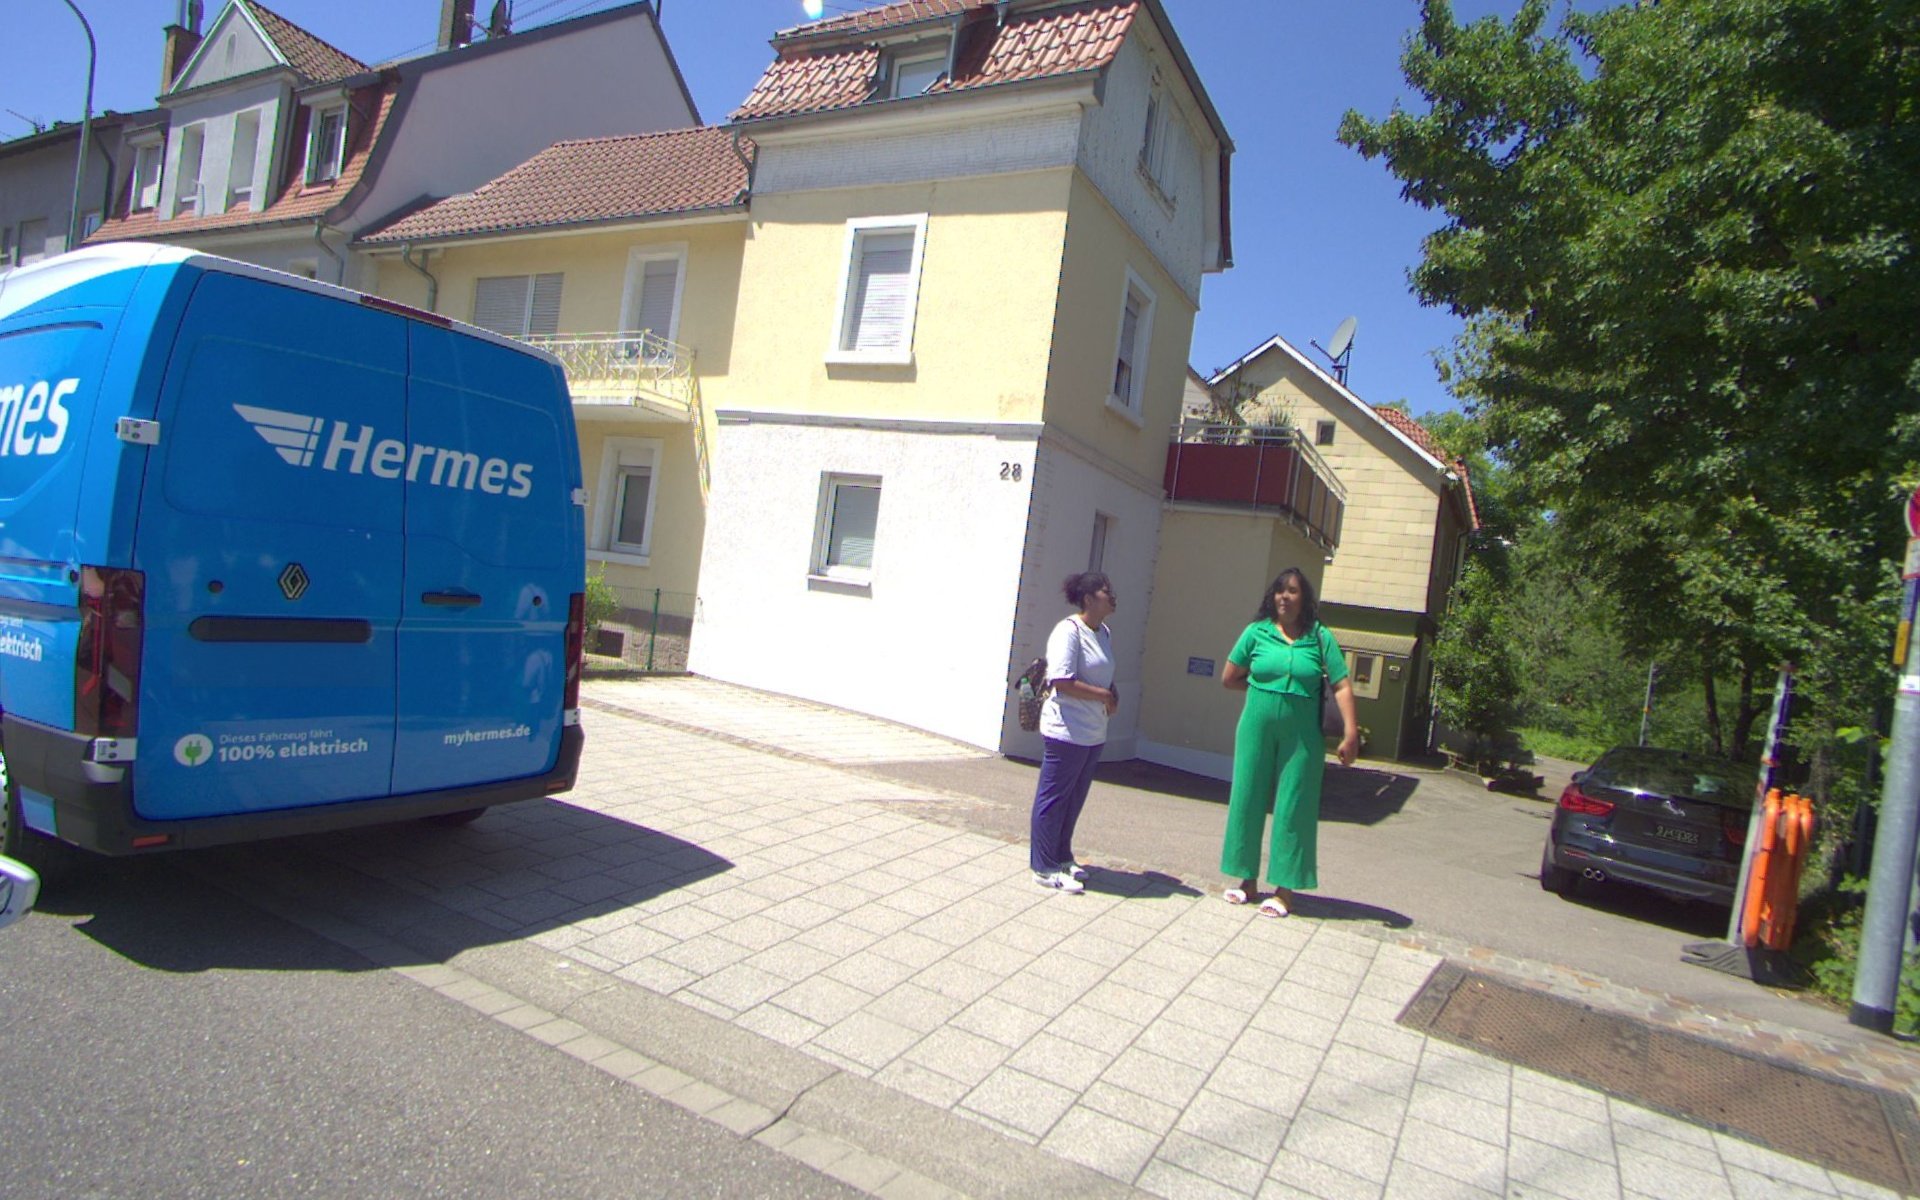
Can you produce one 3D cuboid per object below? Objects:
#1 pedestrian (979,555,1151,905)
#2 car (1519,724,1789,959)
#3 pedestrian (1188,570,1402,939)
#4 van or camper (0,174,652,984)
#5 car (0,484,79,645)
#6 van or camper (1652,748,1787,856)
[{"bbox_3d":[0.560,0.639,5.286,0.512,1.678,0.636,8,5,29],"label":"pedestrian"},{"bbox_3d":[6.829,2.206,9.811,1.620,1.482,4.396,8,-4,38],"label":"car"},{"bbox_3d":[1.695,0.754,5.221,0.789,1.730,0.520,7,4,11],"label":"pedestrian"},{"bbox_3d":[-4.691,-0.296,5.635,6.076,2.500,2.108,7,2,33],"label":"van or camper"},{"bbox_3d":[-11.342,-0.572,10.662,4.081,1.550,1.804,8,2,31],"label":"car"},{"bbox_3d":[14.781,3.839,19.511,1.653,1.592,3.520,8,-1,42],"label":"van or camper"}]
